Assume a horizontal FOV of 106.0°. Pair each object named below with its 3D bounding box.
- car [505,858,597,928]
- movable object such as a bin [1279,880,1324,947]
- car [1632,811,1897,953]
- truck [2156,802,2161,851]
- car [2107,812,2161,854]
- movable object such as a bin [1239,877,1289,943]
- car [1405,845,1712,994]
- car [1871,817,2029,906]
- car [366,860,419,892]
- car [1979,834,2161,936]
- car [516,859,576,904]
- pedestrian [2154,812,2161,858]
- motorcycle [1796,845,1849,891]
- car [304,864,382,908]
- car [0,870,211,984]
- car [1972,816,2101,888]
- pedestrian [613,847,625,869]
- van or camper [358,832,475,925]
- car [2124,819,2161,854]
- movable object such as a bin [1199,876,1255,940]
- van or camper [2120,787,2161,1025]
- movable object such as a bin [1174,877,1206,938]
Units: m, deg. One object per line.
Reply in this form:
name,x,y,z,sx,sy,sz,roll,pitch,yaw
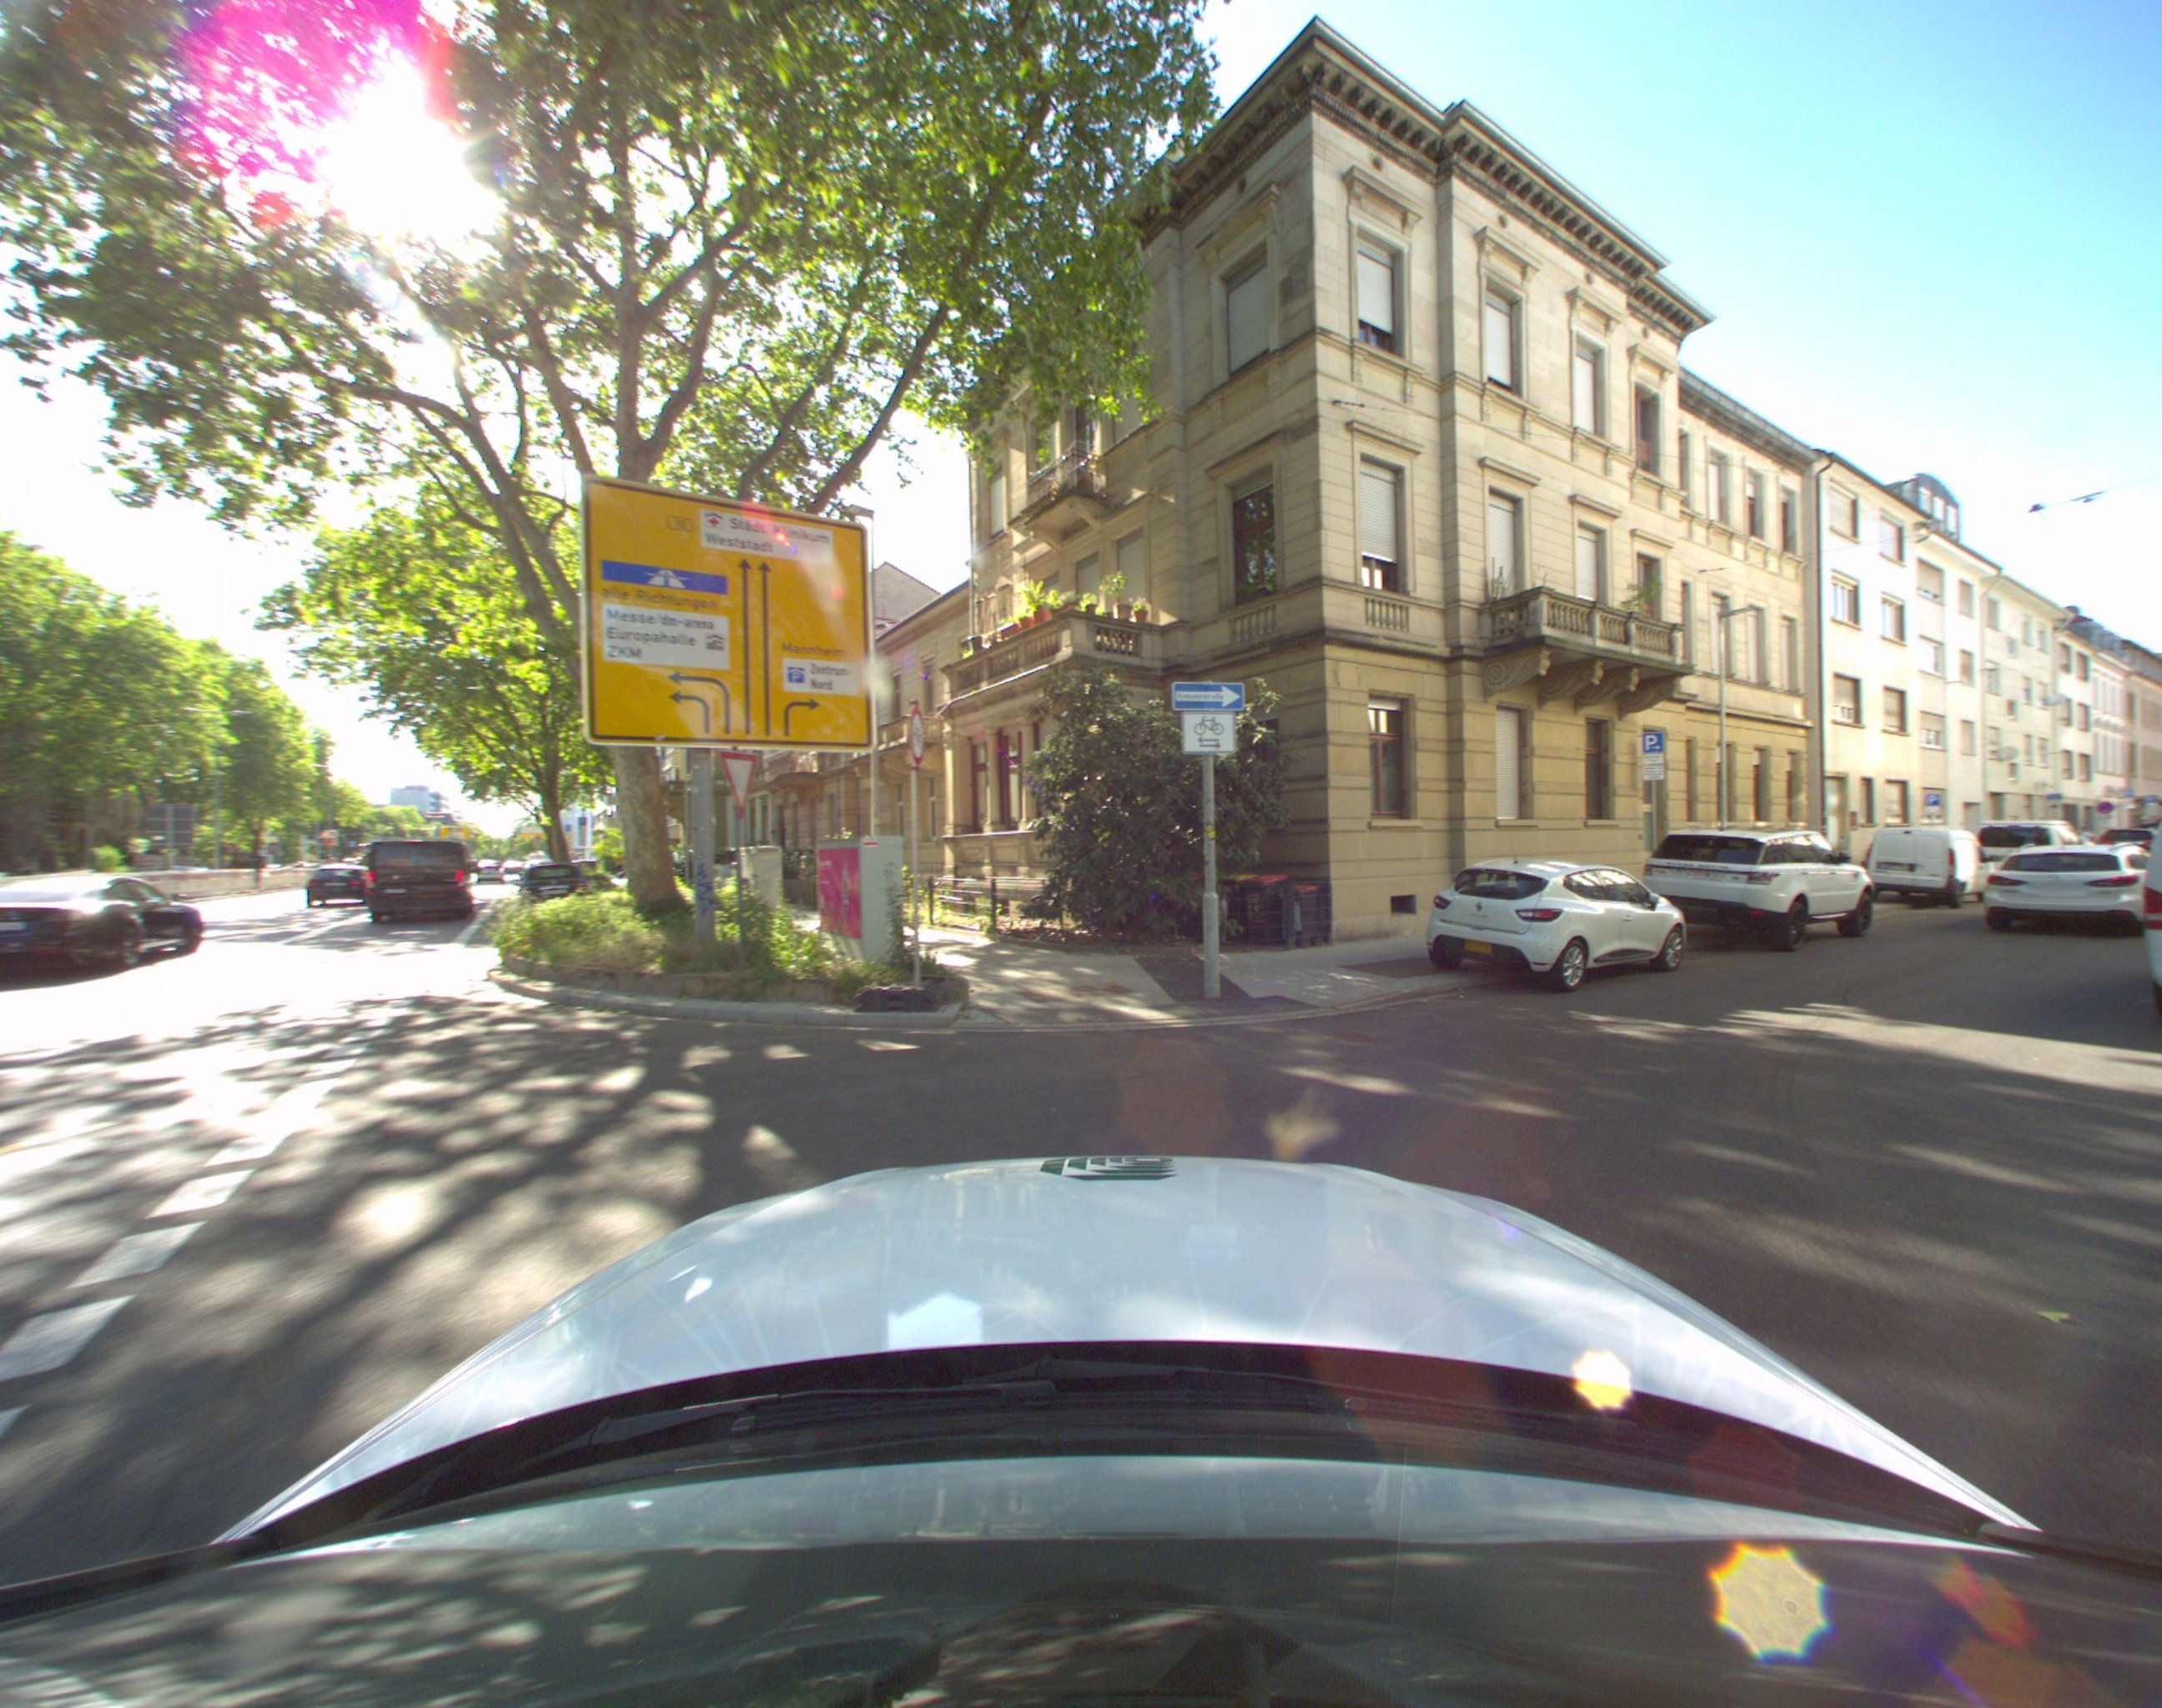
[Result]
car,-13.683,0.934,21.050,1.785,1.568,3.958,-2,0,-34
movable object such as a bin,3.365,0.892,12.422,0.522,0.970,0.394,-2,0,-32
car,11.470,0.359,13.611,4.558,2.013,2.008,-1,0,-31
truck,60.876,-1.499,44.637,6.276,2.590,2.140,0,-1,-36
car,47.162,-0.955,36.031,4.561,1.755,1.866,-2,3,-35
movable object such as a bin,2.881,0.868,12.845,0.522,0.970,0.542,-2,0,-32
car,6.262,0.680,10.590,3.957,1.561,1.854,-1,2,-33
car,20.860,0.084,19.516,4.103,1.875,1.733,-2,4,-31
car,-34.115,1.049,40.448,1.631,1.486,3.694,0,-1,-34
car,17.461,0.461,14.024,4.069,1.486,1.822,-2,-1,-30
car,-20.562,1.017,31.406,1.785,1.568,3.959,-2,0,-32
pedestrian,52.562,-0.905,39.435,0.690,2.229,0.615,0,-1,-31
motorcycle,20.727,0.370,22.751,2.149,1.199,0.424,-2,0,-30
car,-27.166,1.127,30.070,1.631,1.486,3.694,0,-1,-34
car,-15.655,1.023,12.735,1.851,1.483,4.428,-1,0,-34
car,28.541,-0.136,24.285,4.799,1.958,1.881,-2,2,-33
pedestrian,-48.859,0.425,86.176,1.064,2.346,0.808,0,-1,-32
van or camper,-18.698,0.629,23.130,2.262,2.346,4.488,0,0,-36
car,54.207,-0.895,40.416,5.259,1.705,2.425,-1,1,-31
movable object such as a bin,2.377,0.866,13.245,0.692,0.970,0.542,-2,0,-32
van or camper,11.662,0.364,7.655,5.050,2.013,1.880,-2,0,-33
movable object such as a bin,1.808,0.879,13.519,0.346,0.970,0.378,-2,0,-32
